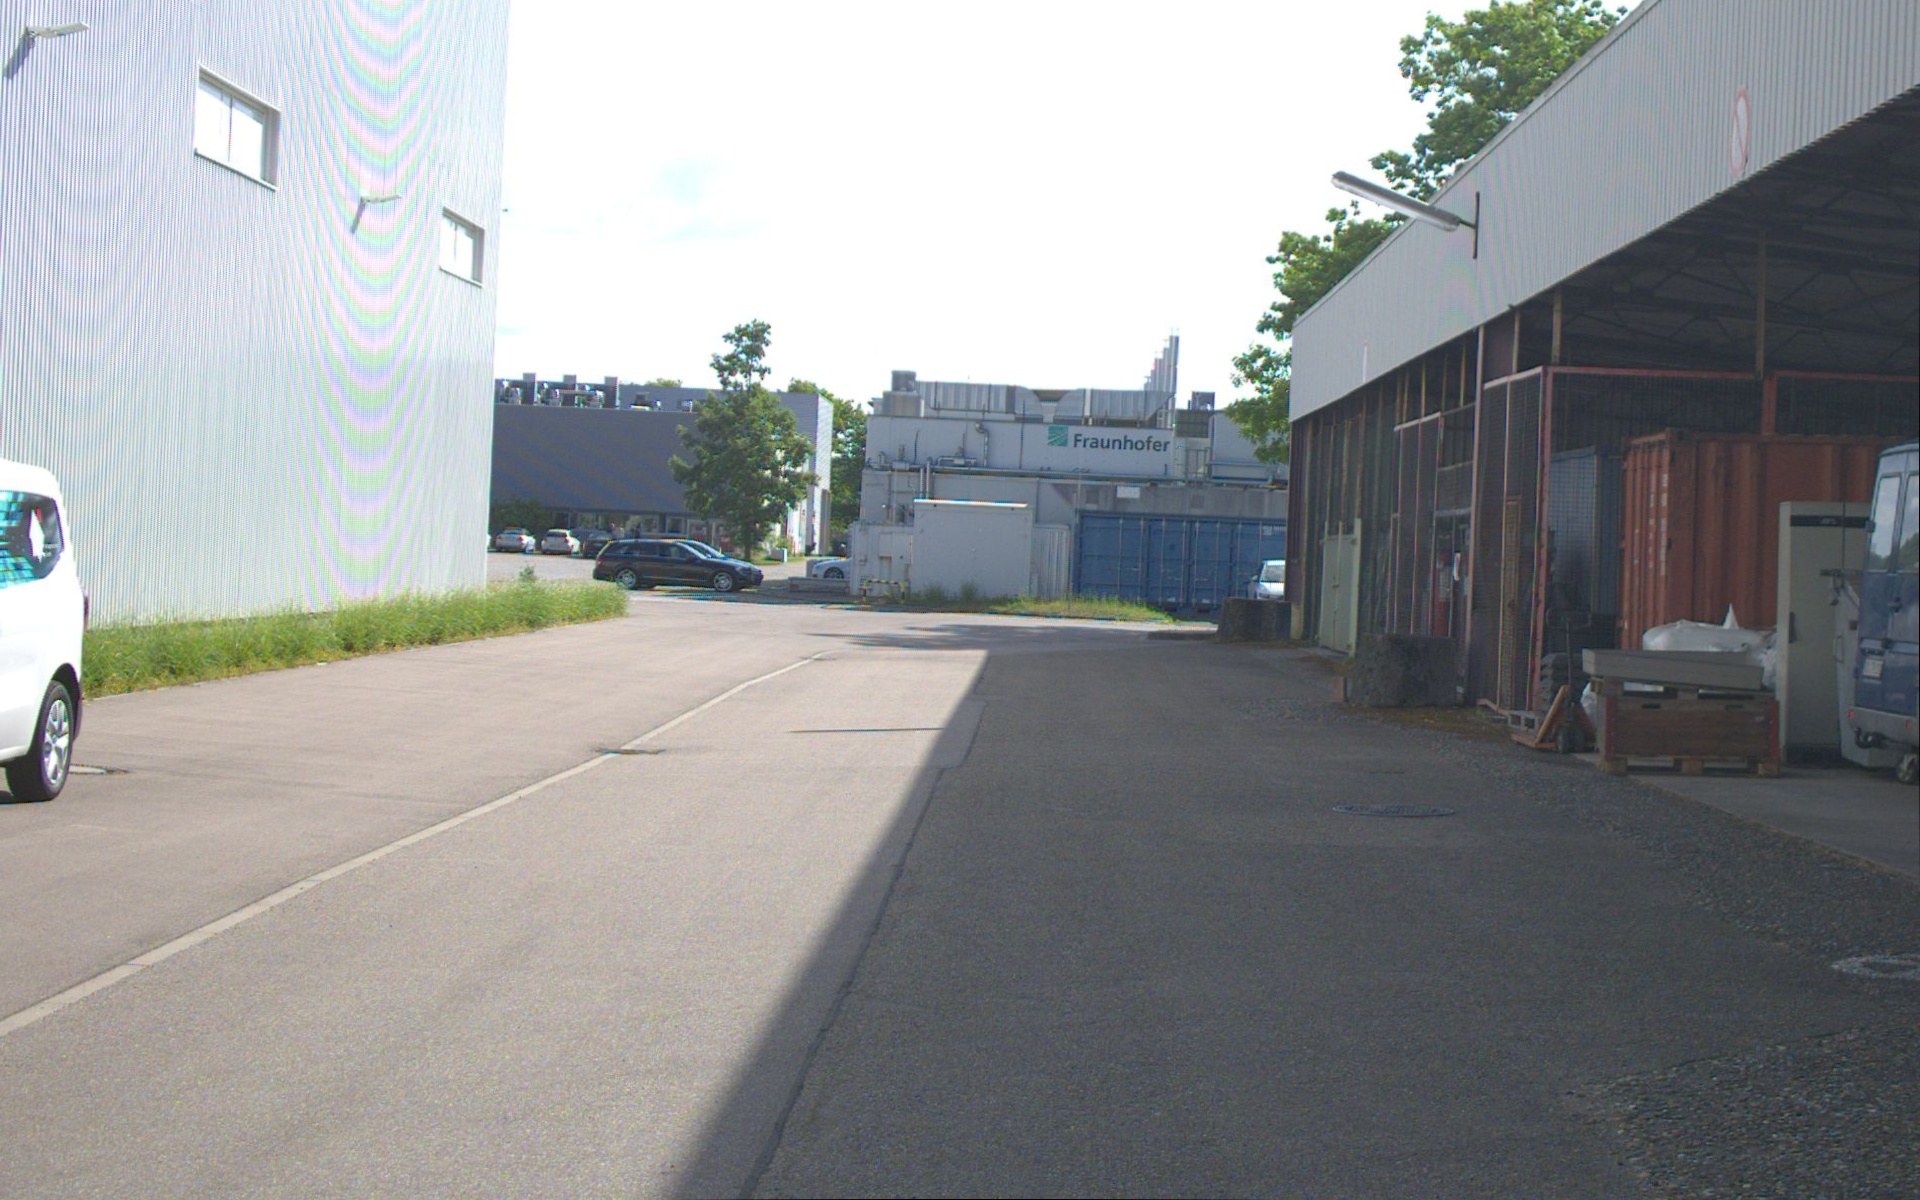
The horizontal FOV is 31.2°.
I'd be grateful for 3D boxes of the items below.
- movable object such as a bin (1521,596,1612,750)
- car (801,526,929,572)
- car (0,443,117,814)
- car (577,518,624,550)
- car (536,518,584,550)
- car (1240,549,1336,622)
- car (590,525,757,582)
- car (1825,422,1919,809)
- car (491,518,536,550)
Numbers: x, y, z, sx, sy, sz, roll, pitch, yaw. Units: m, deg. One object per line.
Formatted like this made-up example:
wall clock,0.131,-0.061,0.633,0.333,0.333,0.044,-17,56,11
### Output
movable object such as a bin,4.808,0.565,27.292,0.582,1.160,1.238,2,1,5
car,-3.483,-1.866,126.393,4.526,1.503,1.909,2,1,2
car,-5.653,0.082,16.648,1.890,1.839,4.358,4,1,1
car,-20.336,-3.738,194.662,2.193,1.730,4.000,1,1,1
car,-22.858,-3.760,196.439,2.193,1.730,4.000,1,1,1
car,8.153,-0.380,85.735,1.993,1.580,4.173,2,2,1
car,-8.211,-1.338,98.913,4.526,1.503,1.909,2,1,3
car,8.189,0.165,21.522,4.979,2.317,2.000,2,1,2
car,-25.451,-3.763,196.163,1.993,1.730,4.000,1,1,1
